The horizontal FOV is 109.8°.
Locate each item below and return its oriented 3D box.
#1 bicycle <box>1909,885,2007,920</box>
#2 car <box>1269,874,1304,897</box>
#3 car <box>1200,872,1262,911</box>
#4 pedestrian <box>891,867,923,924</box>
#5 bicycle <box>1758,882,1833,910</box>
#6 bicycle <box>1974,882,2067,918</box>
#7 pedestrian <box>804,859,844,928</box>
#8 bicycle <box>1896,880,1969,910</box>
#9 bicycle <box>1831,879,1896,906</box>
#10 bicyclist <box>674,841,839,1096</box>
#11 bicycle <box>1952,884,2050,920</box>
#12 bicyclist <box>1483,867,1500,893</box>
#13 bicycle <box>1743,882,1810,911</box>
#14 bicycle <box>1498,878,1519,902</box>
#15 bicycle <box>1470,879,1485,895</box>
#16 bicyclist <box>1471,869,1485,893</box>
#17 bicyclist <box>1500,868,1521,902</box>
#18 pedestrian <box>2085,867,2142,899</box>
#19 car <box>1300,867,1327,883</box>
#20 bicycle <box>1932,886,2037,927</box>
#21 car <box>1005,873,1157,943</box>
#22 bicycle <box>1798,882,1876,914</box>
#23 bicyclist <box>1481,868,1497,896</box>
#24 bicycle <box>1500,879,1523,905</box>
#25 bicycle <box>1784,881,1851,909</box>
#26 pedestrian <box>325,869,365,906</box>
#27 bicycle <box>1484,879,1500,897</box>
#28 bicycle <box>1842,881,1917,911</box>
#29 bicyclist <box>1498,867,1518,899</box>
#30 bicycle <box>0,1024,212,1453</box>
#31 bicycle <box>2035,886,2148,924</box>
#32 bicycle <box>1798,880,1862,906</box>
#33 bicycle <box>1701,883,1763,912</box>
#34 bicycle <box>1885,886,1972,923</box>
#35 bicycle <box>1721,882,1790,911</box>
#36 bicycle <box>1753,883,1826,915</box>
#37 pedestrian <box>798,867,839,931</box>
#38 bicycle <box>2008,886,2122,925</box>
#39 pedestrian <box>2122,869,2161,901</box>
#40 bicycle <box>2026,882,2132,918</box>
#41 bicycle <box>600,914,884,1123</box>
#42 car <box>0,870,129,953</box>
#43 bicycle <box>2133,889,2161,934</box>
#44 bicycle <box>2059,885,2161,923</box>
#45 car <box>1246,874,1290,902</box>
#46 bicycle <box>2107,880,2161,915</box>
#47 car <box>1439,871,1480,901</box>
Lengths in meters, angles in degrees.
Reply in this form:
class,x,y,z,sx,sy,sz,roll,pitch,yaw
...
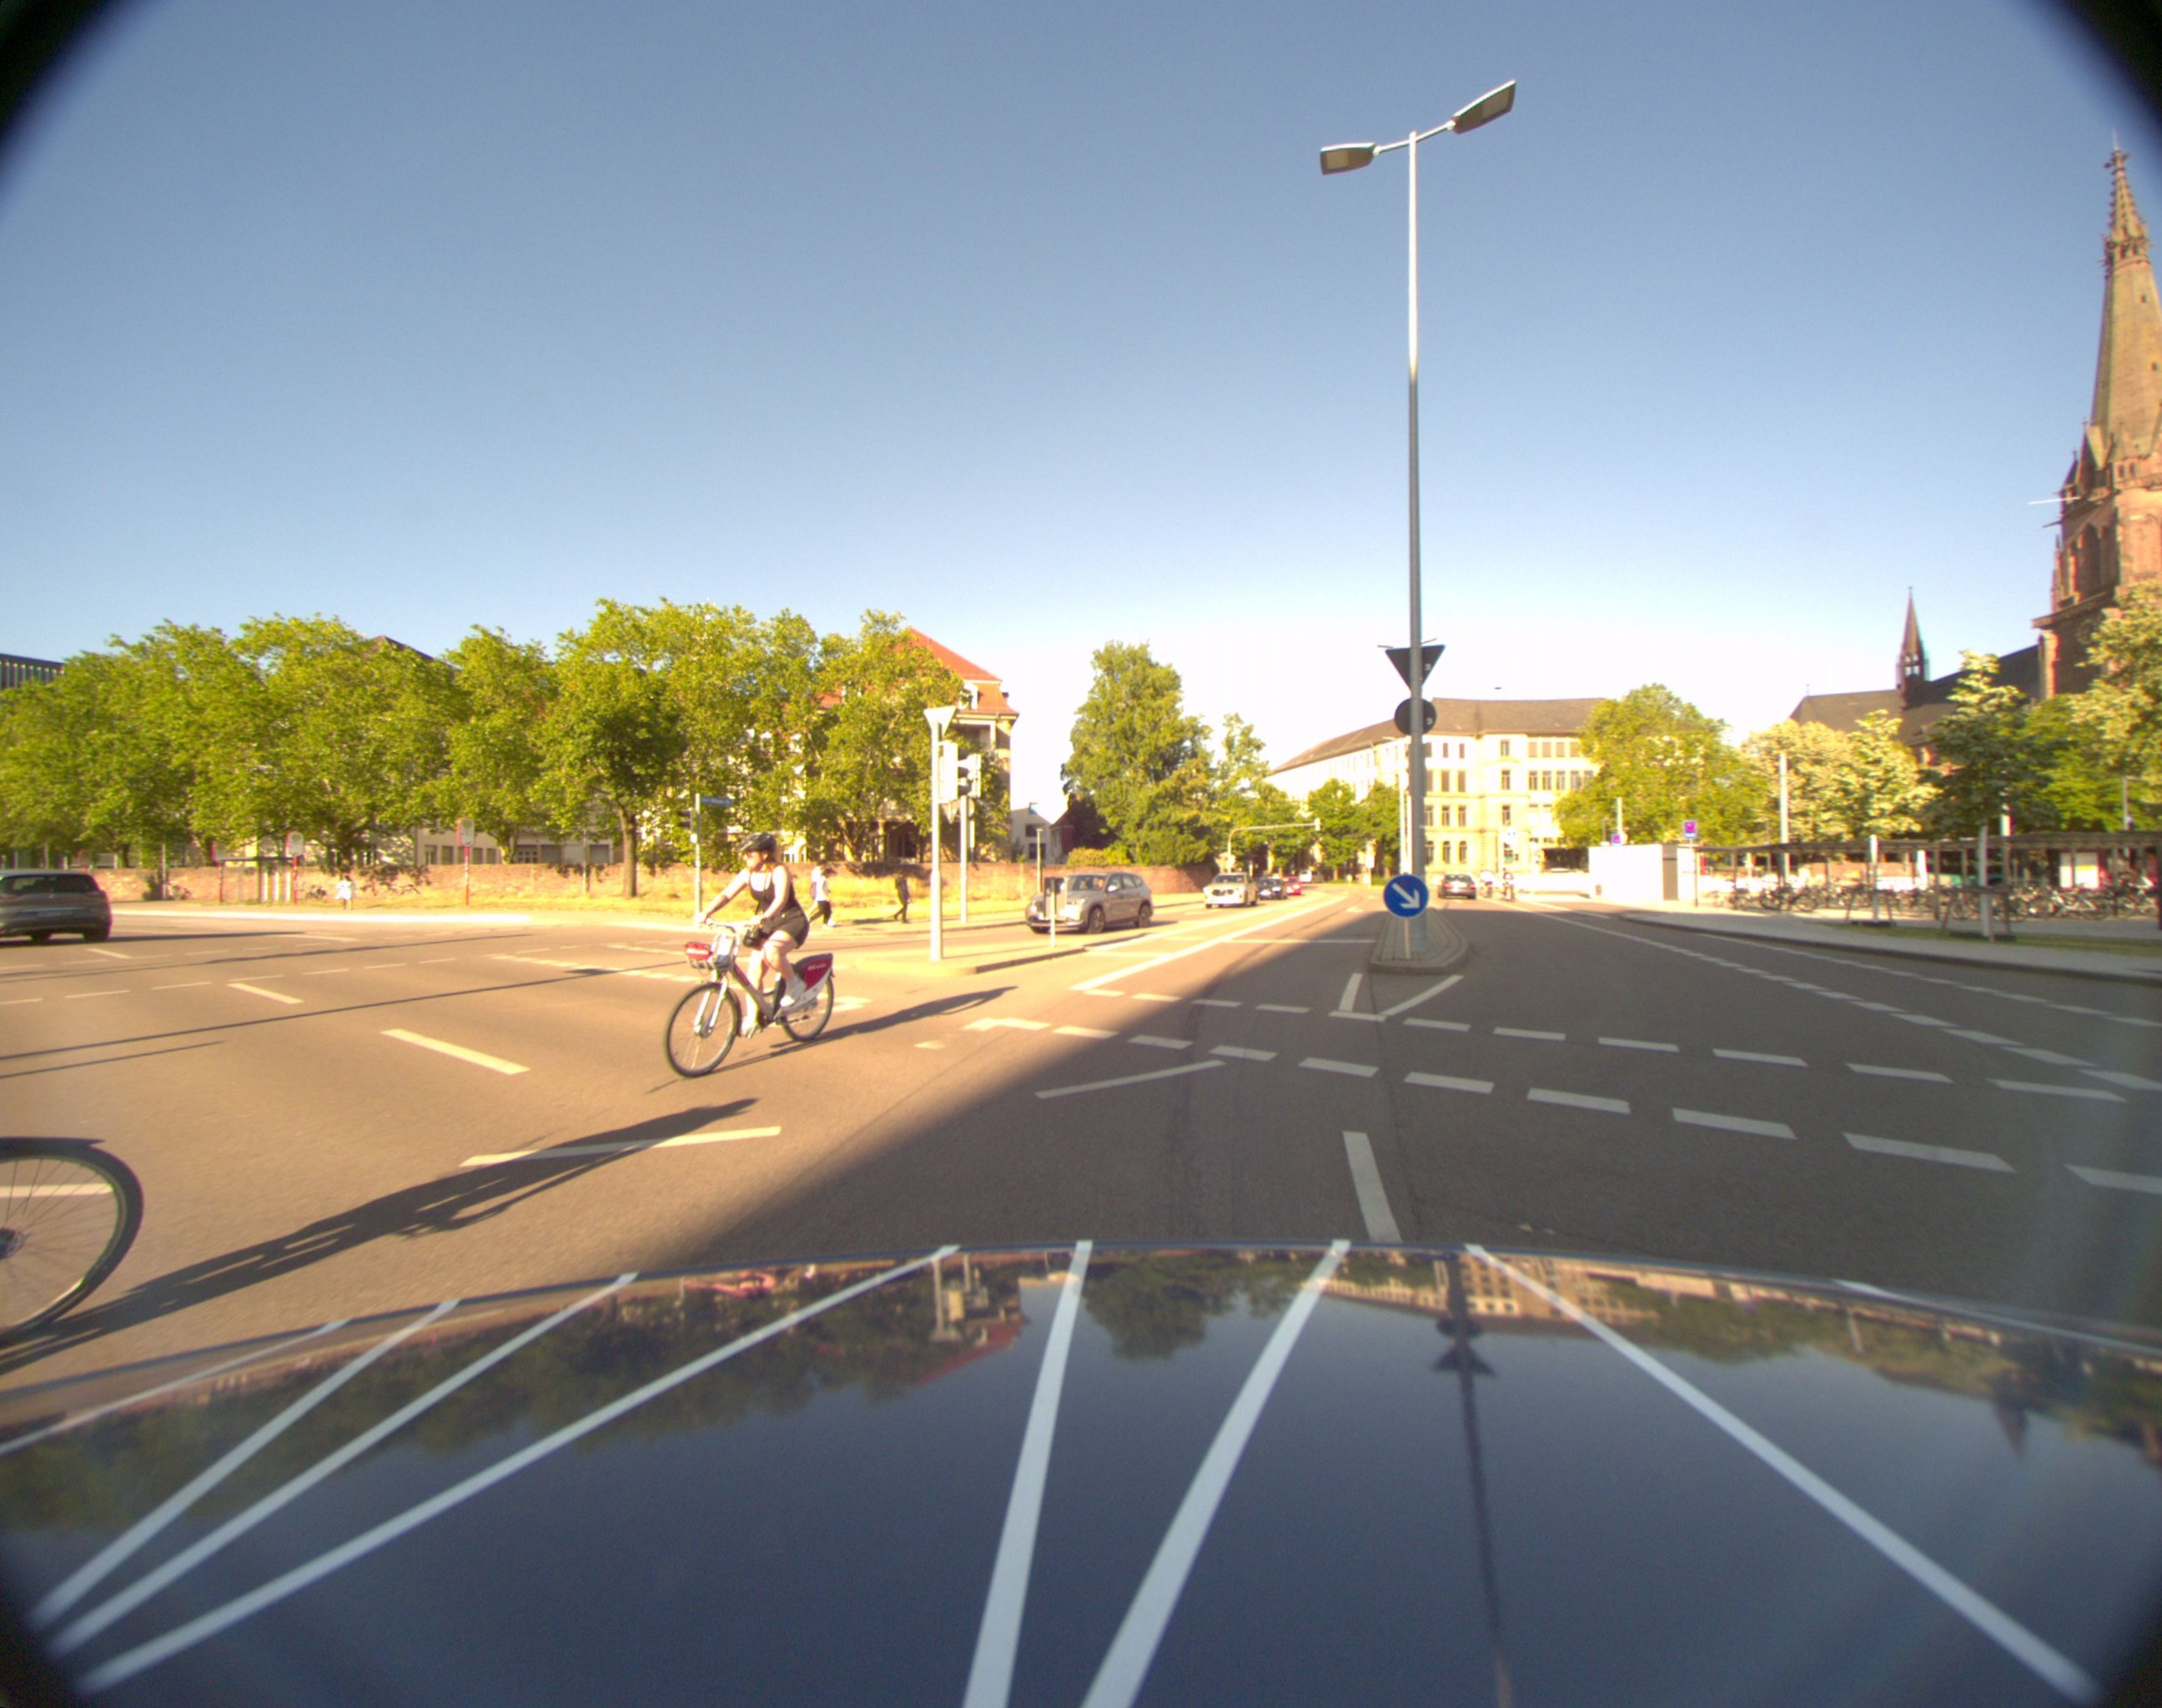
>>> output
class,x,y,z,sx,sy,sz,roll,pitch,yaw
bicycle,29.038,1.577,25.210,0.866,1.037,1.929,-2,0,-14
car,15.971,2.414,59.004,2.191,1.576,4.614,-3,-2,20
car,7.292,1.737,36.523,2.191,1.673,4.614,-3,-2,20
pedestrian,-5.179,1.232,22.599,0.794,1.643,0.711,2,2,-22
bicycle,29.417,1.704,31.336,0.838,1.048,2.117,-2,0,-14
bicycle,31.771,1.535,25.749,0.537,1.083,1.930,-2,0,-13
pedestrian,-7.224,1.097,21.374,0.872,1.883,0.712,2,2,-8
bicycle,33.598,1.603,30.031,0.418,1.048,1.971,-2,0,-11
bicycle,32.927,1.615,32.008,0.418,1.048,1.971,-2,0,-11
bicyclist,-2.443,0.797,5.790,0.716,1.778,0.851,-1,1,20
bicycle,30.515,1.570,25.240,0.768,1.037,1.929,-2,0,-14
bicyclist,26.500,1.687,49.050,0.864,1.643,0.946,-1,-1,32
bicycle,27.963,1.681,30.574,0.683,1.048,1.935,-2,0,-11
bicycle,22.935,1.927,40.806,0.763,1.179,2.610,-3,-2,26
bicycle,27.938,2.293,53.477,0.880,1.090,2.193,-1,-1,29
bicyclist,27.791,1.883,53.216,0.864,1.643,0.946,-1,-1,29
bicyclist,21.464,1.525,37.990,0.763,1.658,1.064,-3,-1,26
pedestrian,45.488,1.276,33.492,1.053,1.341,1.078,-2,-1,-10
car,34.374,3.059,112.350,4.159,2.002,1.994,-4,2,-42
bicycle,27.105,1.555,22.848,0.567,1.099,1.971,-2,0,-12
car,0.146,1.320,20.256,2.150,1.610,4.372,-1,-1,30
bicycle,28.443,1.639,28.632,0.758,1.048,1.971,-2,0,-12
bicyclist,24.542,1.675,45.689,0.864,1.643,0.946,-1,-1,29
bicycle,21.483,1.899,37.971,0.763,1.179,2.610,-3,-2,26
bicycle,30.680,1.689,31.677,0.512,1.048,1.970,-2,0,-20
pedestrian,-31.171,1.393,32.190,0.920,1.527,0.976,0,-1,26
bicycle,26.543,2.175,49.065,0.880,1.090,2.193,-1,-1,29
bicycle,31.061,1.608,29.591,0.567,1.048,1.971,-2,0,-15
bicyclist,22.921,1.552,40.801,0.763,1.658,1.064,-3,-1,26
bicycle,-3.604,1.173,1.796,0.718,1.115,1.871,-2,0,18
bicycle,30.780,1.530,23.200,0.604,1.037,2.032,-2,0,-9
bicycle,32.200,1.662,32.692,0.498,1.048,1.971,-2,0,-16
bicycle,25.541,1.686,29.837,0.567,1.048,1.972,-2,0,-7
bicycle,27.160,1.600,24.379,0.486,1.099,1.798,-2,0,-18
bicycle,26.993,1.672,30.453,0.683,1.048,2.021,-2,0,-11
bicycle,26.335,1.657,28.269,0.567,1.048,1.971,-2,0,-15
pedestrian,-7.129,1.221,20.670,0.872,1.665,0.712,2,2,-8
bicycle,29.684,1.532,22.975,0.604,1.037,2.032,-2,0,-12
pedestrian,46.781,1.335,33.240,1.053,1.341,1.078,-2,-1,-10
bicycle,33.109,1.505,25.257,0.567,1.083,2.069,-2,0,-13
bicycle,-2.434,1.108,5.821,0.718,1.115,2.069,-1,1,20
car,-23.629,1.200,16.790,4.618,1.674,2.004,-1,-1,22
bicycle,28.003,1.444,18.823,0.745,1.099,2.122,-2,-2,-16
bicycle,32.225,1.538,23.655,0.604,1.037,2.105,-2,0,-14
car,11.928,2.143,48.234,2.191,1.576,4.614,-3,-2,20
bicycle,34.562,1.391,24.266,0.567,1.083,2.069,-2,0,-13
car,20.940,1.734,42.145,1.802,1.436,3.984,-1,0,23
